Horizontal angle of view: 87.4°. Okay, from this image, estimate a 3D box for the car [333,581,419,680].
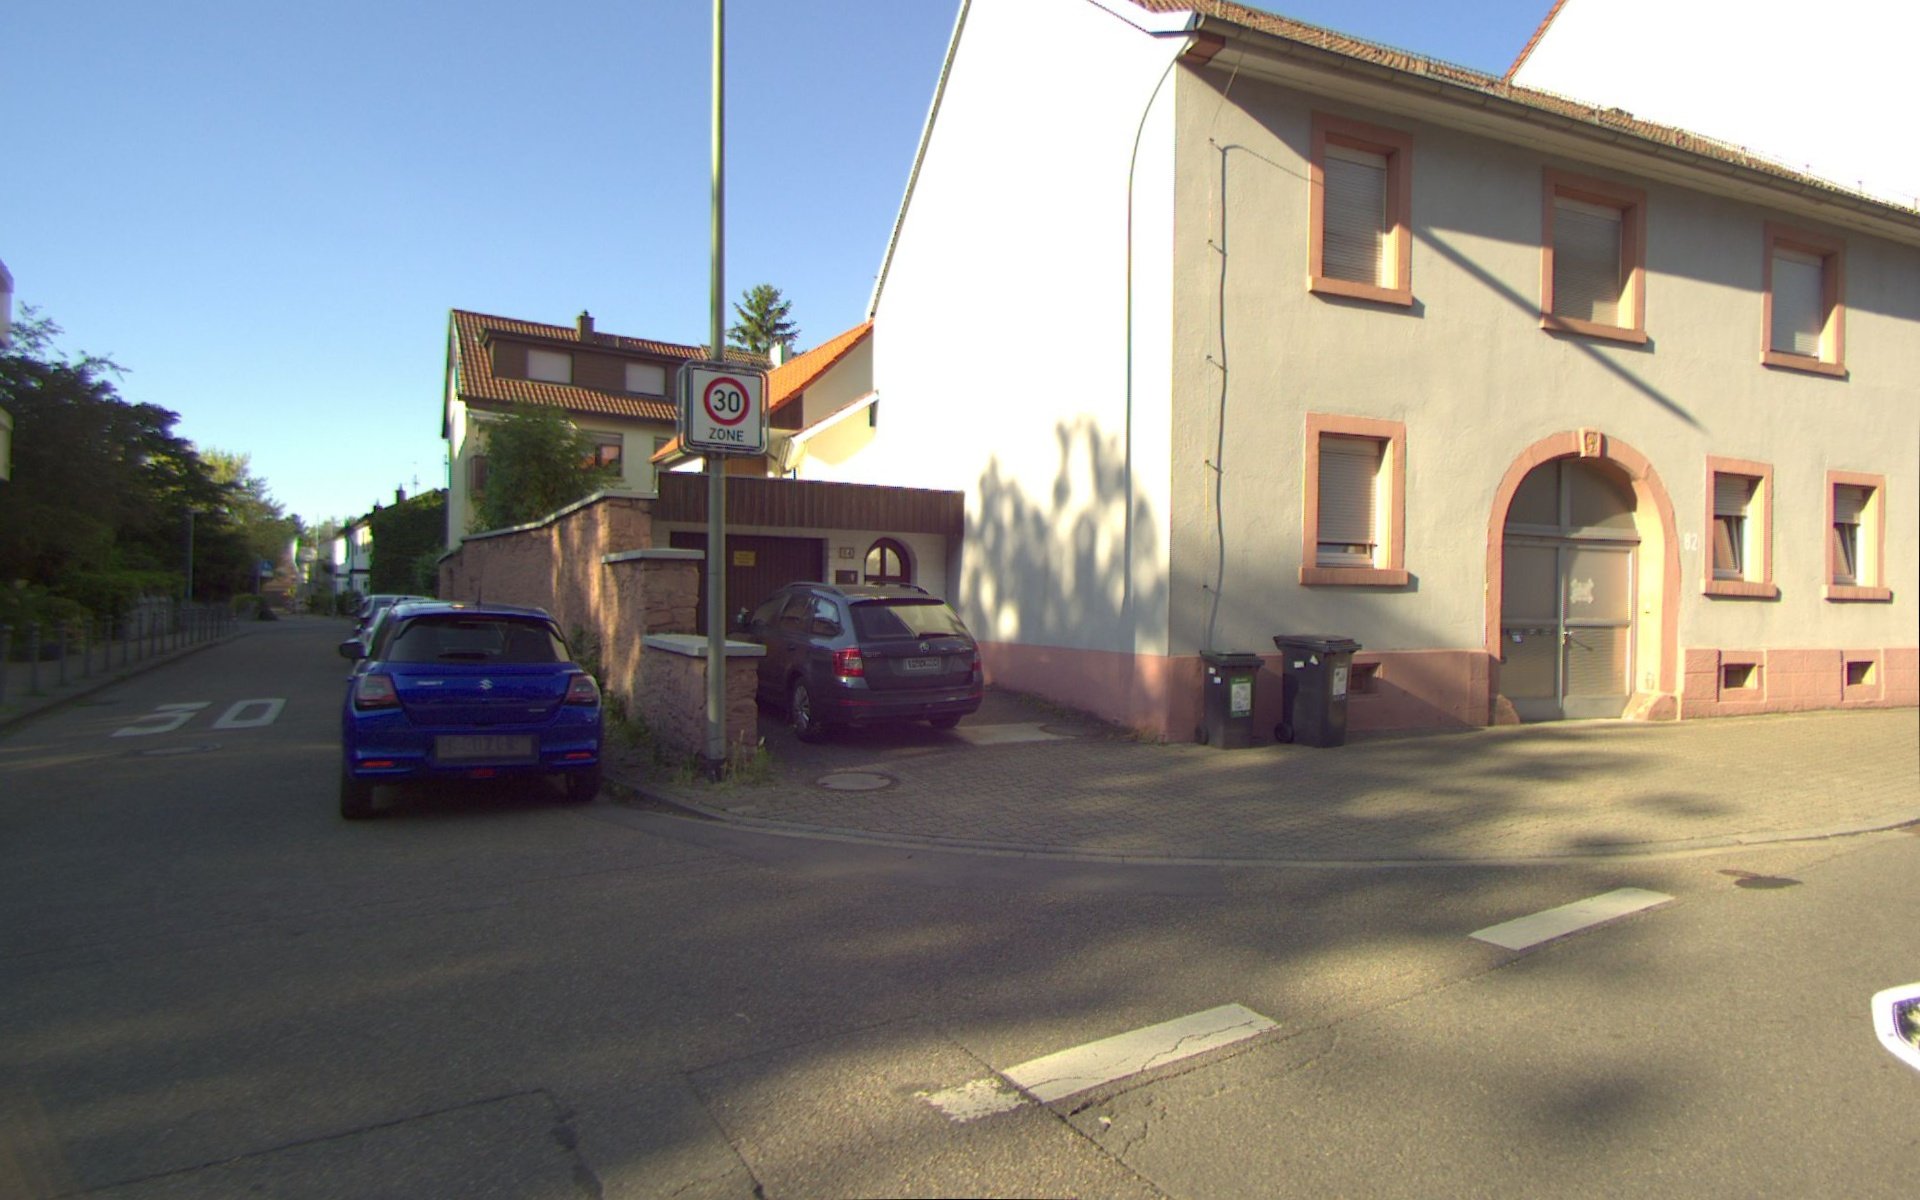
[{"bbox_3d":[-12.405,0.596,21.267,1.372,1.910,3.074,2,0,-33],"label":"car"}]

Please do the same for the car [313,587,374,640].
[{"bbox_3d":[-25.200,0.512,41.008,1.824,2.040,3.637,0,0,-36],"label":"car"}]

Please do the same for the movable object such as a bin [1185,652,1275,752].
[{"bbox_3d":[2.601,0.964,9.697,0.600,0.884,0.595,0,1,-33],"label":"movable object such as a bin"}]

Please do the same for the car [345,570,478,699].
[{"bbox_3d":[-9.912,0.545,18.025,1.904,2.040,3.641,0,0,-32],"label":"car"}]

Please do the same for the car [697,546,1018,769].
[{"bbox_3d":[-1.341,0.372,11.014,1.963,1.819,4.343,-2,5,-29],"label":"car"}]

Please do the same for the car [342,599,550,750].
[{"bbox_3d":[-6.408,0.757,12.445,1.976,1.521,3.968,0,0,-30],"label":"car"}]

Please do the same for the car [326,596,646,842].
[{"bbox_3d":[-4.083,0.771,8.503,1.976,1.550,3.750,0,0,-30],"label":"car"}]

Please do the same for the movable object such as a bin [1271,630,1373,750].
[{"bbox_3d":[3.577,0.862,9.939,0.742,1.109,0.596,0,1,-30],"label":"movable object such as a bin"}]

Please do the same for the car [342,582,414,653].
[{"bbox_3d":[-17.826,0.500,30.704,1.549,2.040,3.731,0,0,-36],"label":"car"}]
